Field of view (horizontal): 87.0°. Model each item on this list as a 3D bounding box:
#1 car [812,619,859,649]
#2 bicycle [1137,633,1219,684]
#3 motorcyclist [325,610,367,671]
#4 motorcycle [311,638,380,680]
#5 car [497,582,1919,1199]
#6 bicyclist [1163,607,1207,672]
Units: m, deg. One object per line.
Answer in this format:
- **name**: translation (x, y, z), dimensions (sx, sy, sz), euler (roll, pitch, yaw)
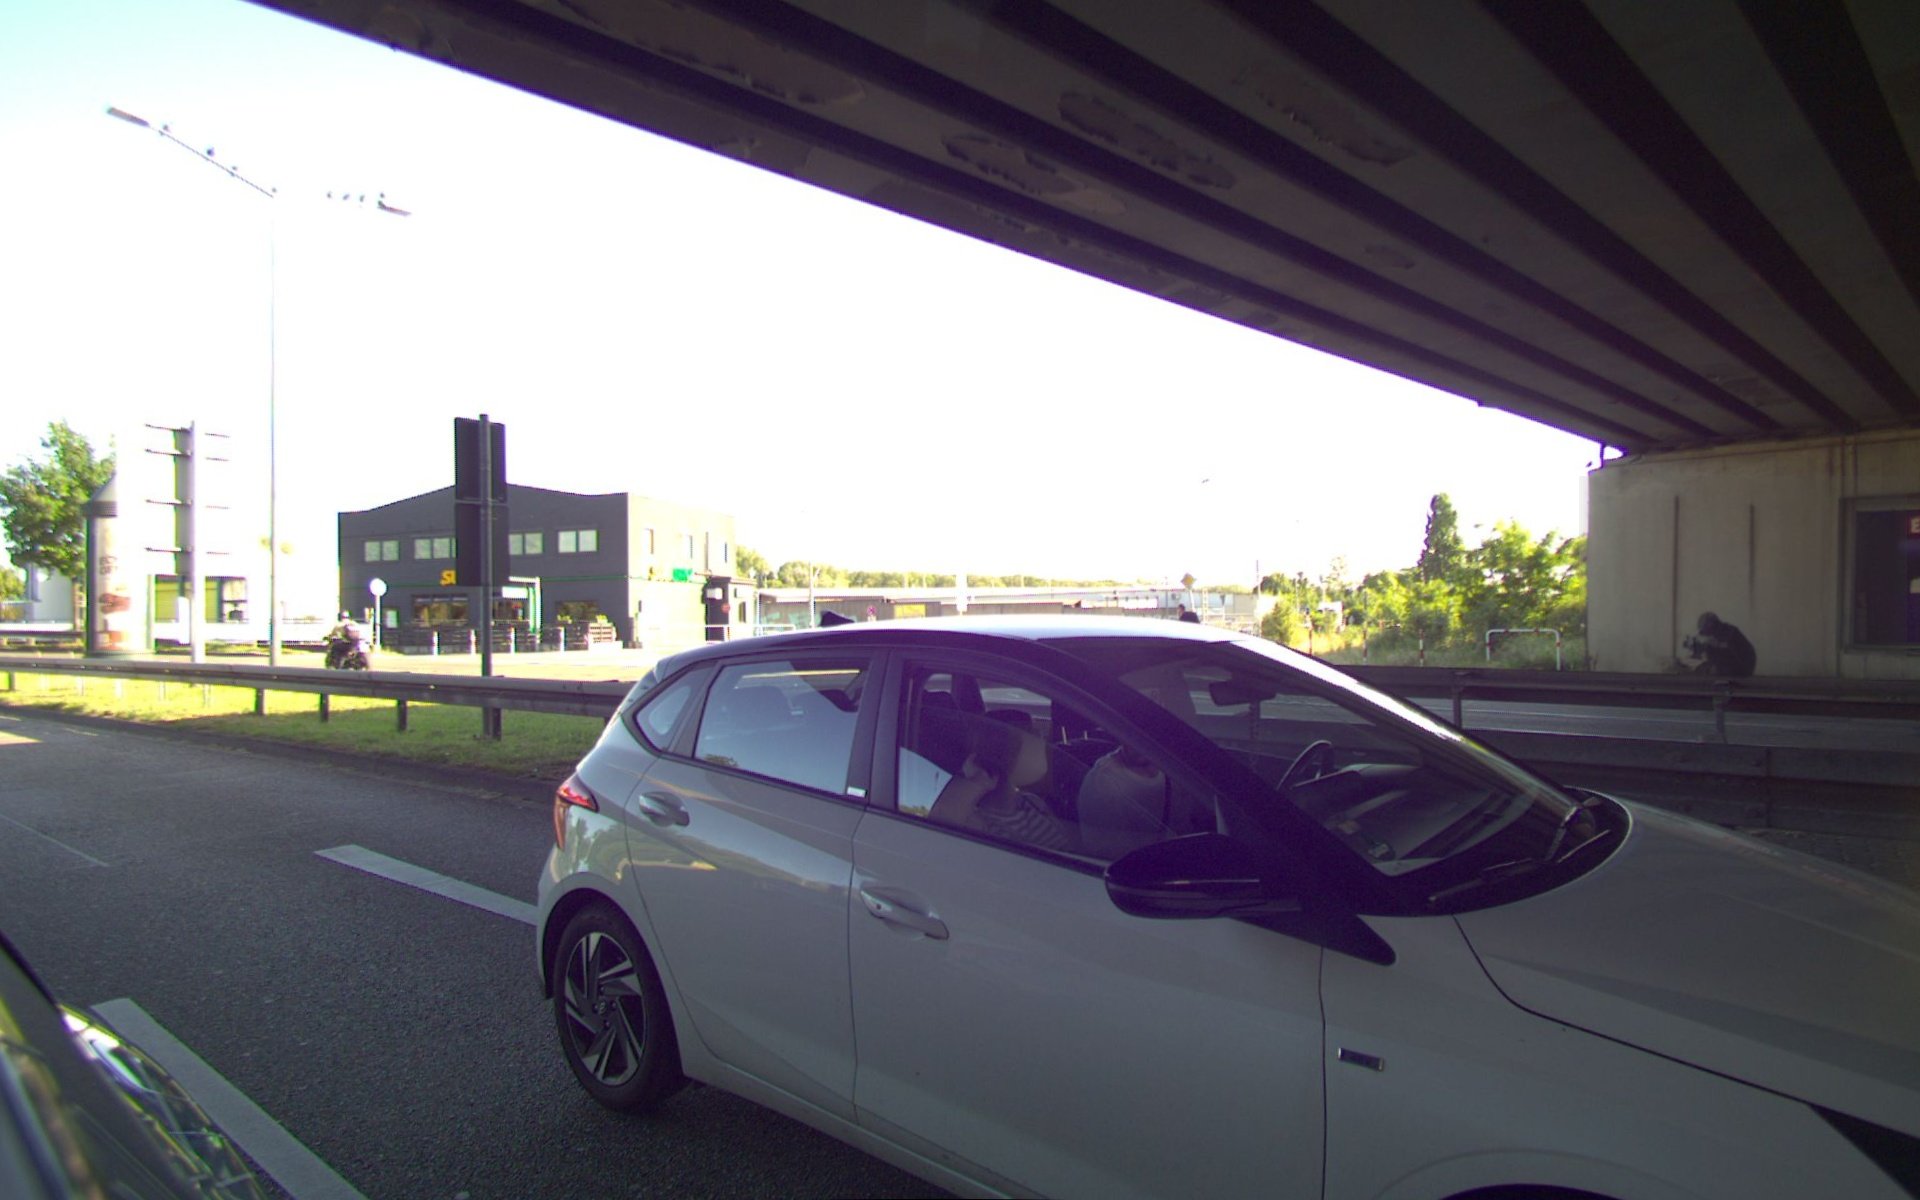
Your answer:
- **car**: translation (-6.709, 1.829, 54.971), dimensions (1.858, 1.453, 3.996), euler (-1, 0, 3)
- **bicycle**: translation (5.296, 1.407, 24.690), dimensions (1.877, 1.174, 0.627), euler (-1, 0, 41)
- **motorcyclist**: translation (-15.791, 1.048, 26.026), dimensions (0.695, 1.539, 0.691), euler (-2, -2, 31)
- **motorcycle**: translation (-15.814, 1.508, 26.030), dimensions (2.002, 1.035, 0.687), euler (-2, -1, 32)
- **car**: translation (0.586, 0.709, 2.671), dimensions (3.867, 1.414, 1.716), euler (-1, 1, 39)
- **bicyclist**: translation (5.457, 0.935, 24.540), dimensions (0.836, 1.536, 0.621), euler (-1, 0, 41)
